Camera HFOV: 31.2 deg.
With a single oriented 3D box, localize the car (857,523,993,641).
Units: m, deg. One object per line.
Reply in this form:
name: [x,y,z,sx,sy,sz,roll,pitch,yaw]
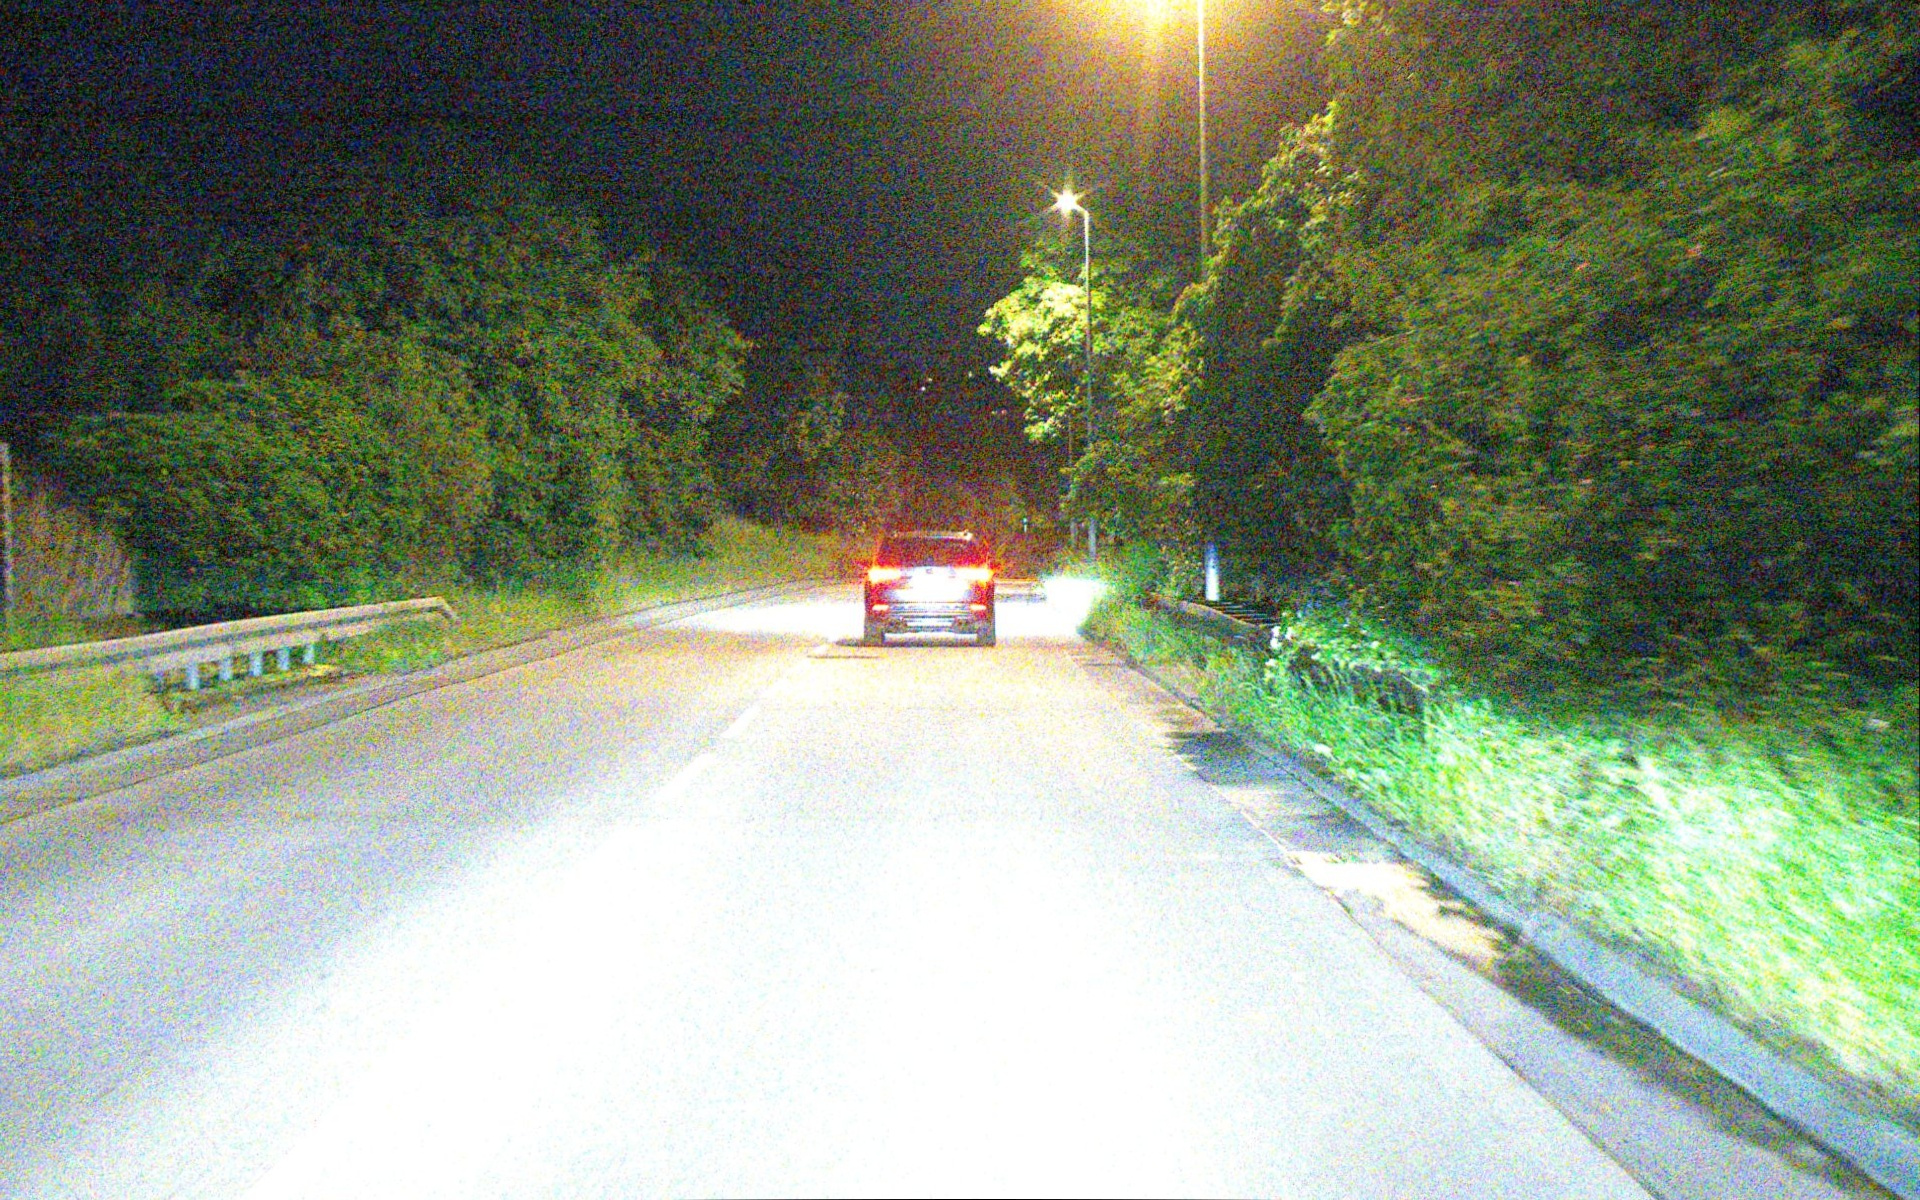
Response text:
car: [-0.458,-0.285,47.945,1.815,1.568,3.944,0,1,0]
